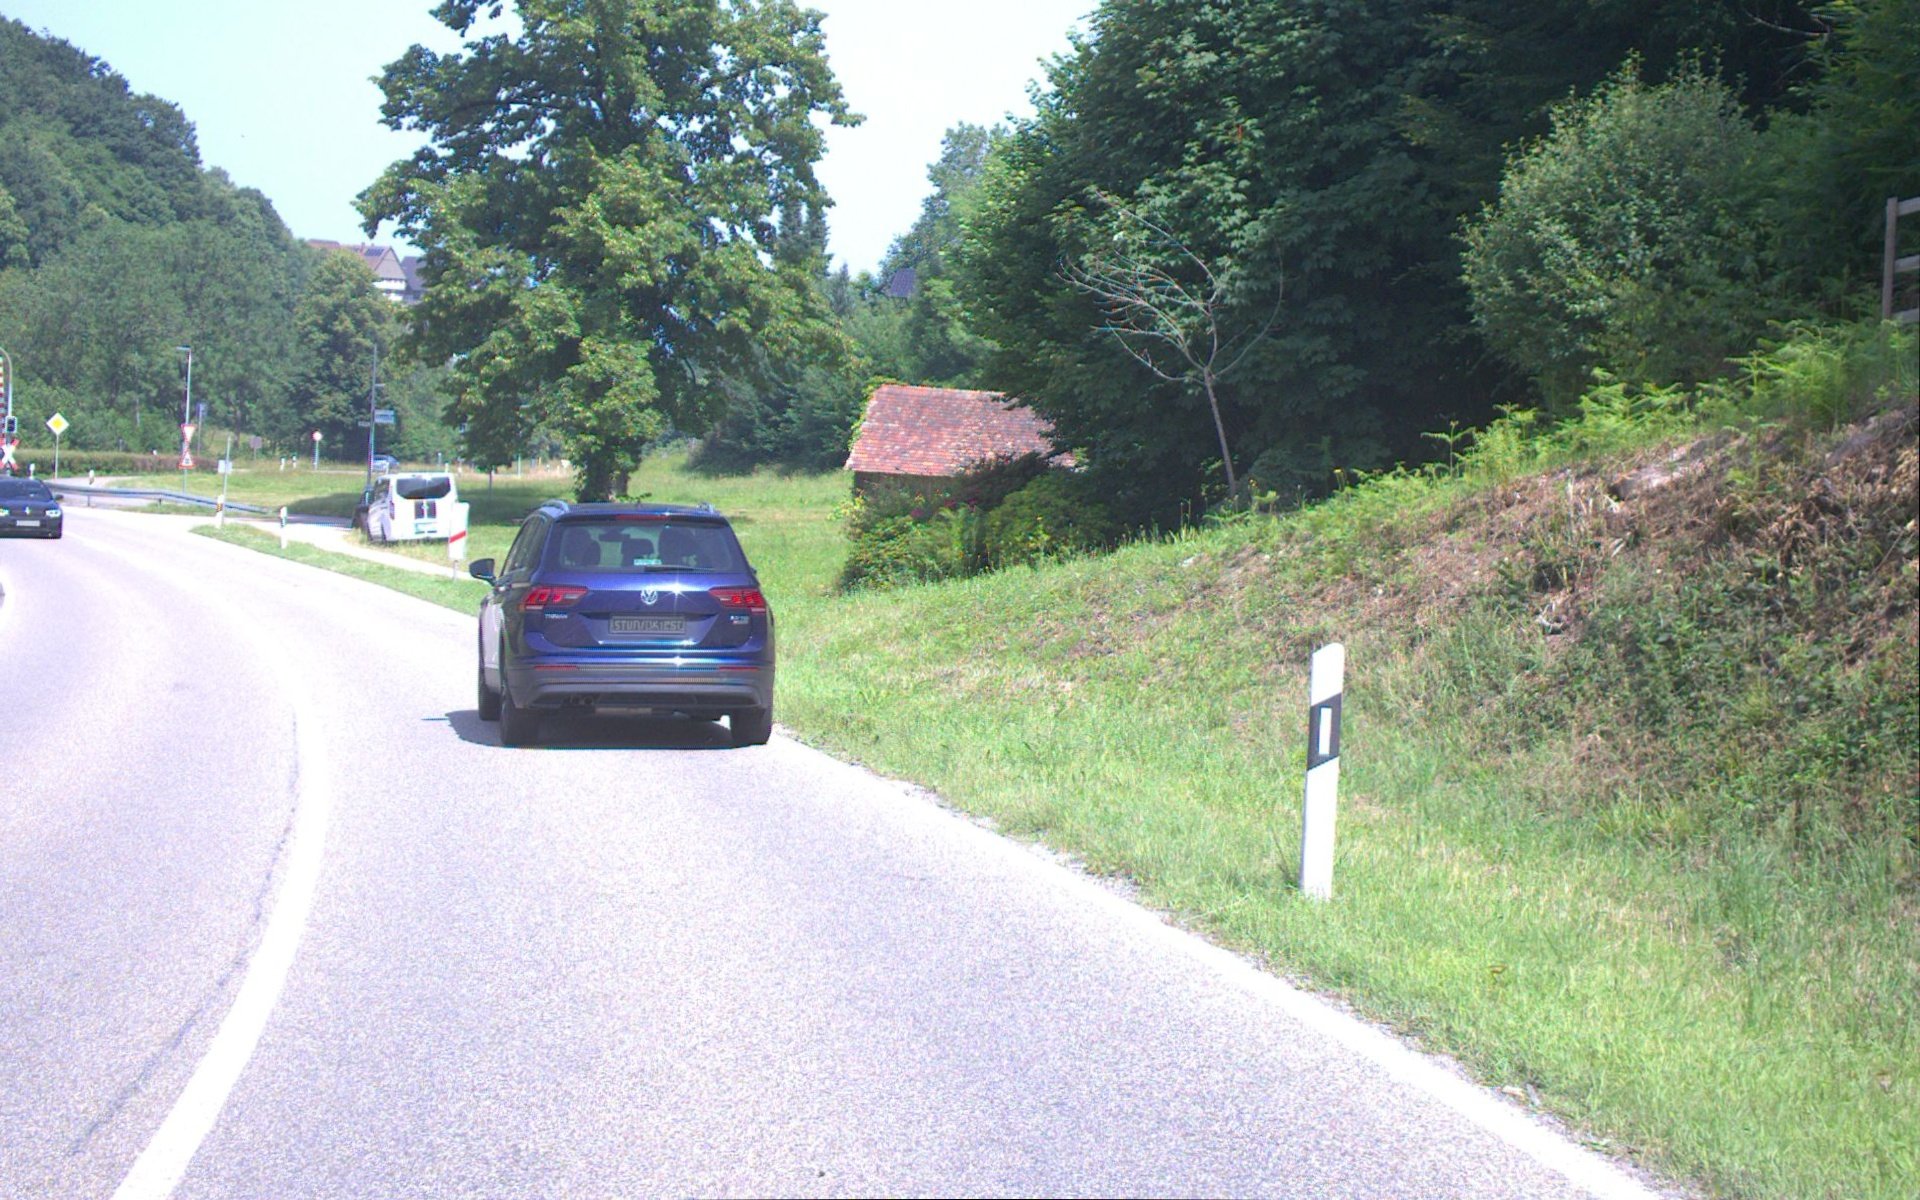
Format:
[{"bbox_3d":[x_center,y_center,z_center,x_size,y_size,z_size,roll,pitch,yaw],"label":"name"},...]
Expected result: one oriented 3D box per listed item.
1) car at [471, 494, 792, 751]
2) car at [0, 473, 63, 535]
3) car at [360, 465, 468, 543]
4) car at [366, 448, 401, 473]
[{"bbox_3d":[-2.401,0.087,24.211,1.852,1.643,4.141,0,2,-11],"label":"car"},{"bbox_3d":[-24.134,-2.493,88.546,1.916,1.465,4.512,1,2,-15],"label":"car"},{"bbox_3d":[-14.373,-2.547,90.363,1.999,1.842,4.871,-4,4,-17],"label":"car"},{"bbox_3d":[-43.449,-10.516,259.071,1.804,1.612,4.000,2,0,1],"label":"car"}]
